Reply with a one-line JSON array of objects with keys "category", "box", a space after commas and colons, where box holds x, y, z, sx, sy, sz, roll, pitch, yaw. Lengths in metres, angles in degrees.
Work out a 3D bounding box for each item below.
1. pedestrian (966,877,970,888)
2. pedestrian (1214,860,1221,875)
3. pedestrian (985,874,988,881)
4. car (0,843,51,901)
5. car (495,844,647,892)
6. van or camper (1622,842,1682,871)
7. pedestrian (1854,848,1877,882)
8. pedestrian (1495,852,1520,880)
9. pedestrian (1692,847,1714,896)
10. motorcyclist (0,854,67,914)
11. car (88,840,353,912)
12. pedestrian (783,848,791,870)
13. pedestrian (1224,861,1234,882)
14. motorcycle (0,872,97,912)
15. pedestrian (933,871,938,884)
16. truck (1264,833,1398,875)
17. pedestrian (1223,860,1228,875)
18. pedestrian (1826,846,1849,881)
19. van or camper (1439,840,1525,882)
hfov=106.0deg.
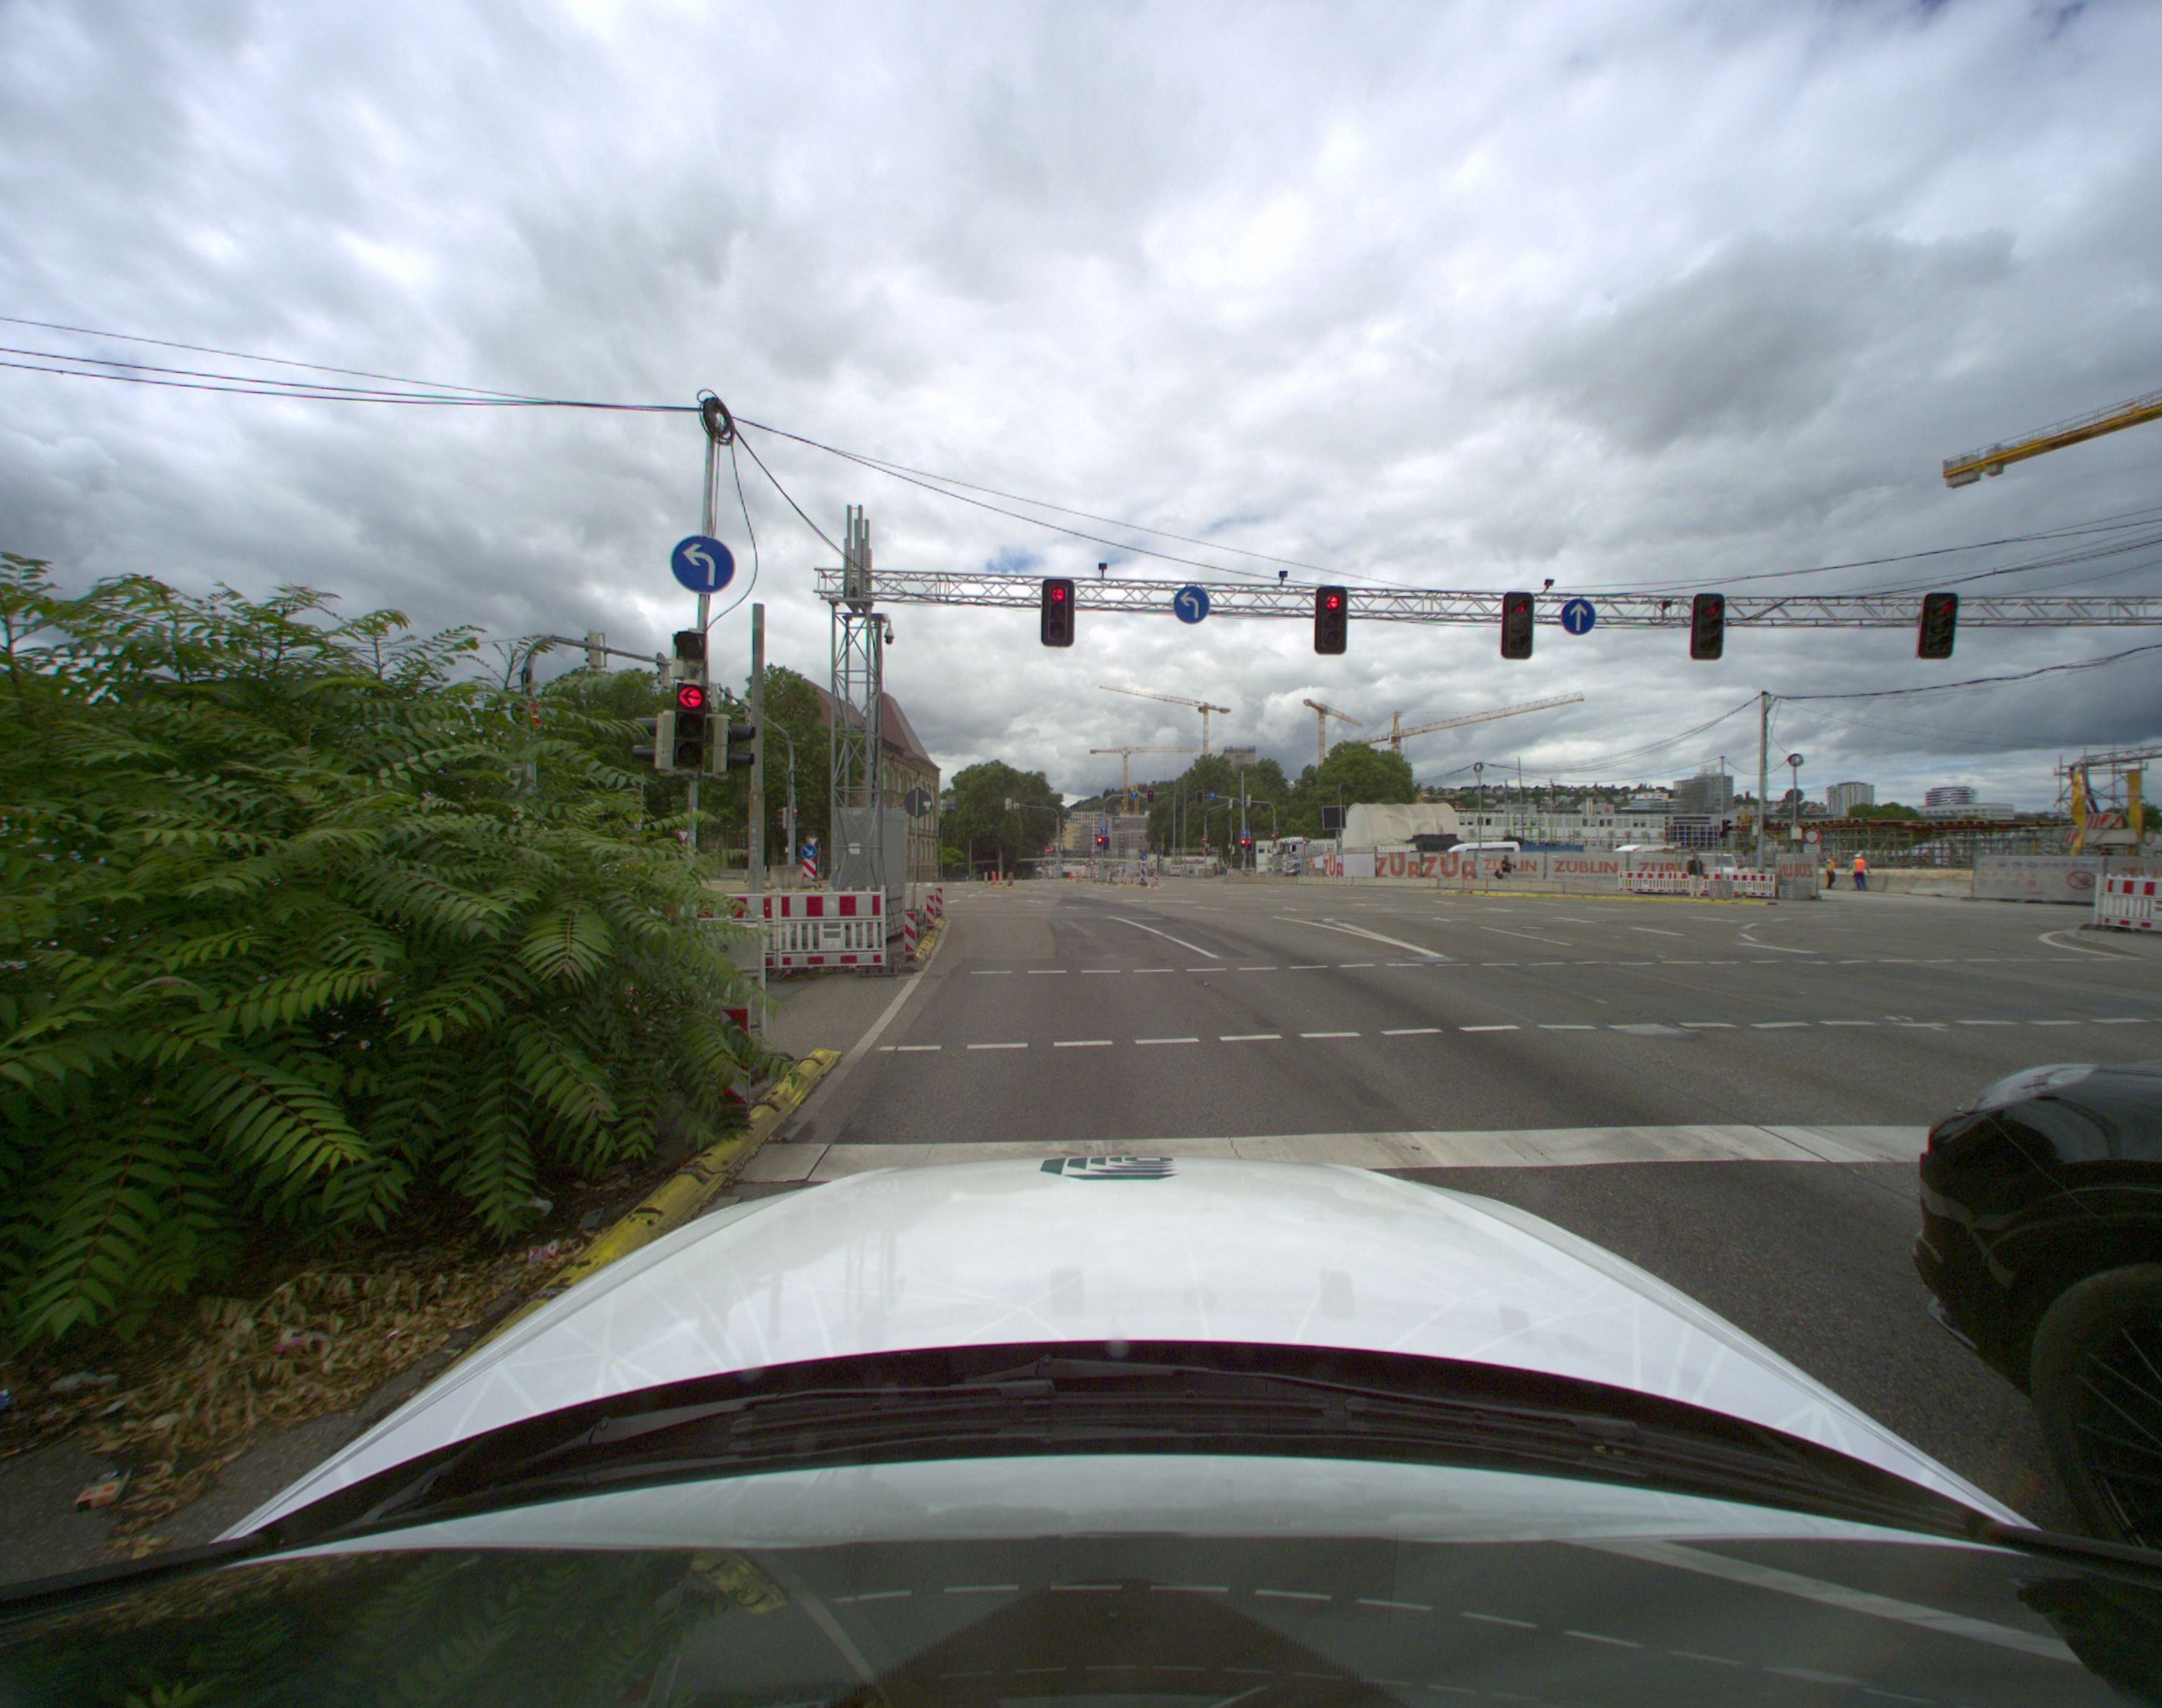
[{"category": "pedestrian", "box": [-21.508, 5.369, 154.856, 0.522, 2.014, 0.567, 0, 0, 2]}, {"category": "pedestrian", "box": [15.509, 1.538, 92.787, 0.726, 1.689, 0.678, 0, 0, 1]}, {"category": "pedestrian", "box": [-20.586, 5.097, 177.005, 0.534, 1.592, 0.515, 0, 0, -2]}, {"category": "car", "box": [-33.028, 0.506, 23.305, 4.302, 1.676, 1.998, 0, 0, -3]}, {"category": "car", "box": [-18.822, 0.498, 30.240, 4.315, 1.676, 1.992, 0, 0, -12]}, {"category": "van or camper", "box": [60.332, 0.264, 86.088, 5.282, 2.911, 1.993, 0, -1, -10]}, {"category": "pedestrian", "box": [38.952, 0.539, 40.427, 0.651, 1.717, 0.516, 0, 0, -9]}, {"category": "pedestrian", "box": [21.362, 0.582, 40.767, 0.893, 1.378, 0.804, 0, 0, 45]}, {"category": "pedestrian", "box": [25.764, 0.722, 33.753, 0.645, 2.013, 0.520, 0, 0, 27]}, {"category": "motorcyclist", "box": [-25.619, 0.709, 19.787, 0.963, 1.423, 0.745, 0, 0, -4]}, {"category": "car", "box": [-21.214, 0.522, 20.249, 4.302, 1.676, 1.998, 0, 0, -3]}, {"category": "pedestrian", "box": [-26.746, 0.422, 74.125, 0.530, 2.014, 0.423, 1, -1, -42]}, {"category": "pedestrian", "box": [12.246, 1.432, 67.338, 0.726, 1.689, 0.678, 0, 0, 1]}, {"category": "motorcycle", "box": [-25.474, 0.914, 19.802, 2.051, 0.924, 0.756, 0, 0, -4]}, {"category": "pedestrian", "box": [-21.342, 3.452, 119.603, 0.522, 2.014, 0.567, 0, 0, 2]}, {"category": "truck", "box": [25.031, -0.028, 81.583, 13.062, 4.041, 3.926, 0, 0, -18]}, {"category": "pedestrian", "box": [16.487, 1.507, 92.842, 0.564, 1.689, 0.472, 0, 0, 1]}, {"category": "pedestrian", "box": [38.838, 0.476, 41.809, 0.651, 1.795, 0.617, 0, 0, -9]}, {"category": "van or camper", "box": [23.147, 0.419, 47.196, 4.181, 2.357, 2.009, 0, 0, 16]}]
